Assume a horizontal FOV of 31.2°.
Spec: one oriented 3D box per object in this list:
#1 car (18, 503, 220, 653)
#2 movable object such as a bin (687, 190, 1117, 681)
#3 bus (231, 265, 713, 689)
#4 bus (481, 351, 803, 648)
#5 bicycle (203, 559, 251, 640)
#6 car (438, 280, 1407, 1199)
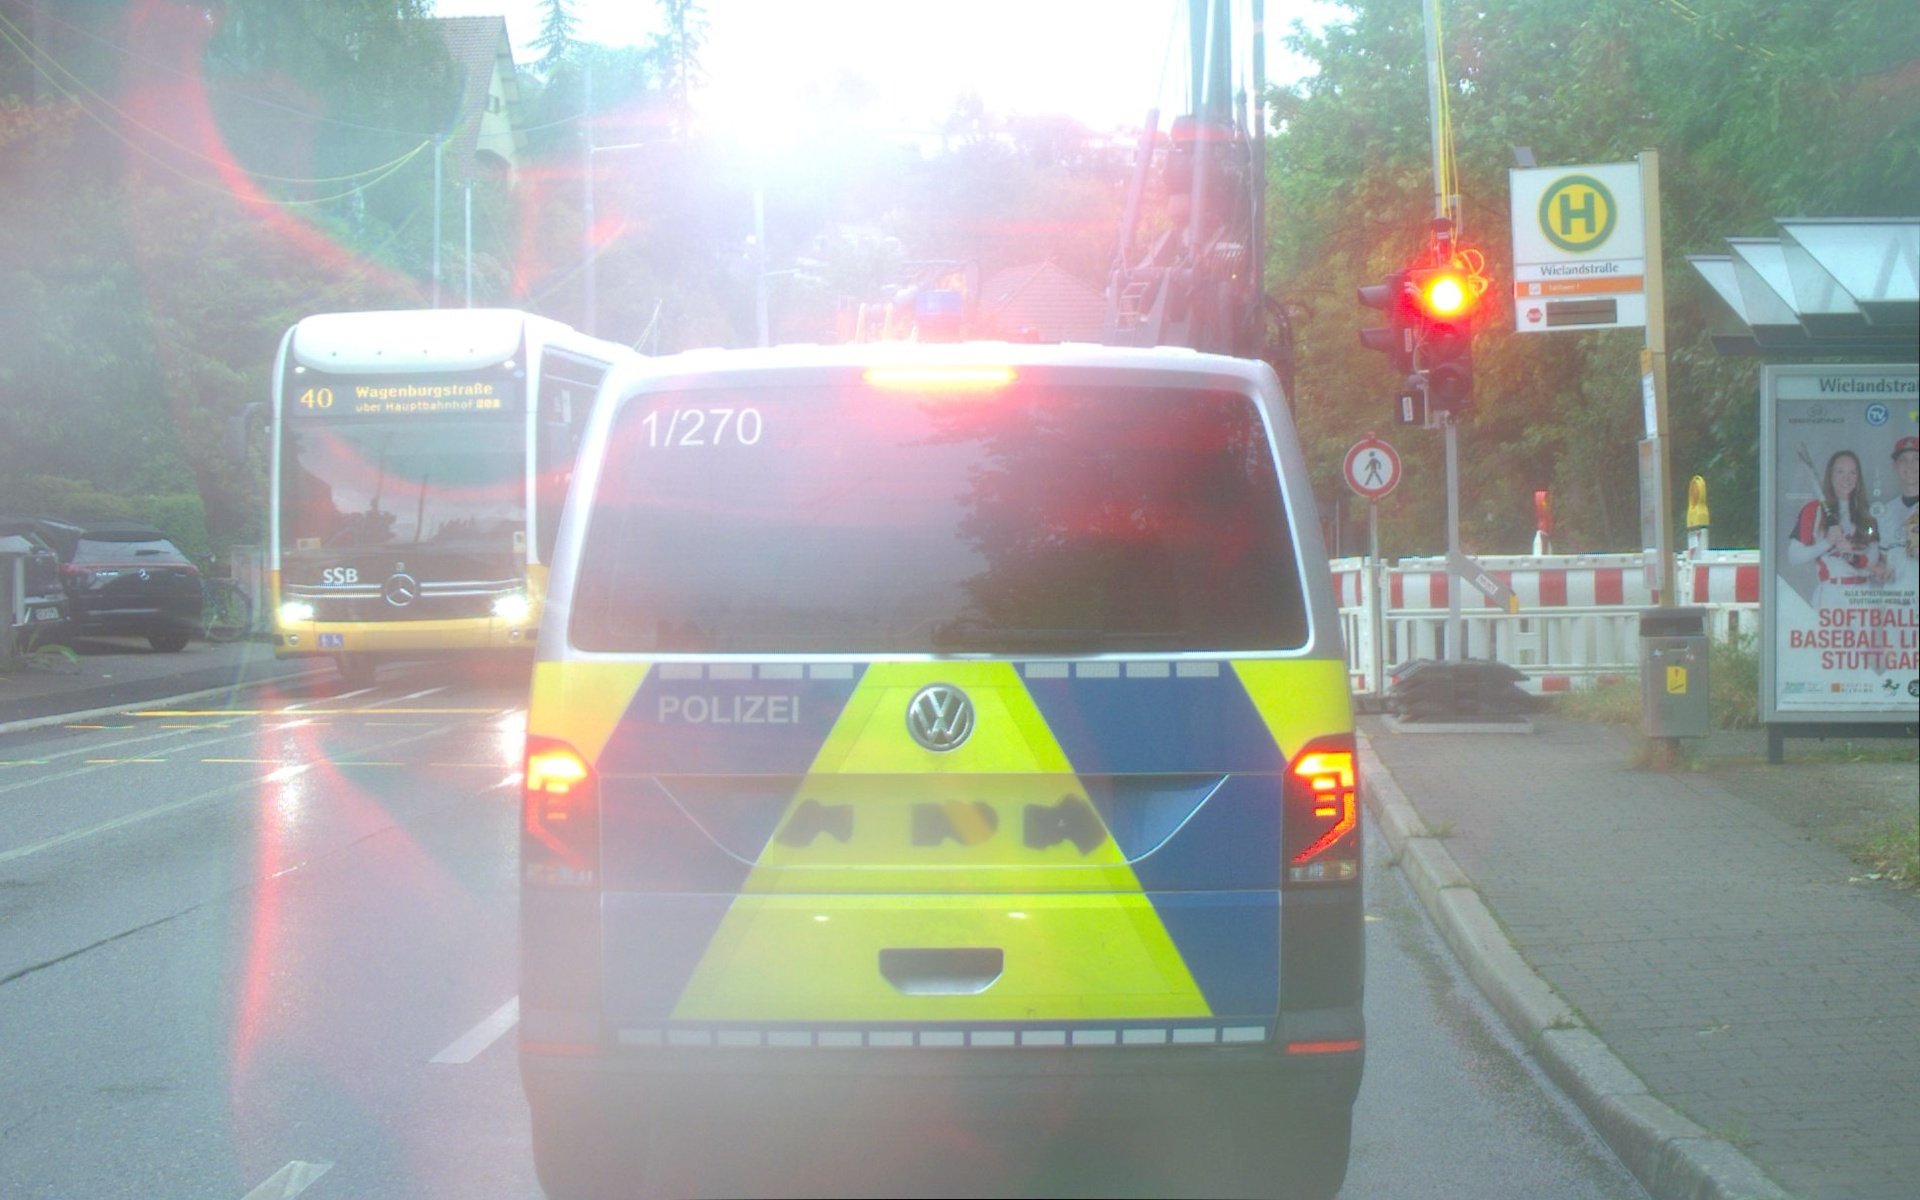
[{"bbox_3d":[-9.326,-0.278,37.955,1.765,1.481,3.743,1,3,-20],"label":"car"},{"bbox_3d":[-0.424,-1.456,31.611,2.832,4.163,4.378,1,1,15],"label":"movable object such as a bin"},{"bbox_3d":[-4.750,-1.215,36.388,2.841,3.705,12.005,1,1,3],"label":"bus"},{"bbox_3d":[-4.196,-1.361,48.308,2.841,3.612,12.005,1,1,3],"label":"bus"},{"bbox_3d":[-8.444,-0.018,39.572,0.462,0.894,1.634,0,1,-15],"label":"bicycle"},{"bbox_3d":[-0.099,0.361,8.811,1.893,2.043,4.000,1,1,-1],"label":"car"}]
